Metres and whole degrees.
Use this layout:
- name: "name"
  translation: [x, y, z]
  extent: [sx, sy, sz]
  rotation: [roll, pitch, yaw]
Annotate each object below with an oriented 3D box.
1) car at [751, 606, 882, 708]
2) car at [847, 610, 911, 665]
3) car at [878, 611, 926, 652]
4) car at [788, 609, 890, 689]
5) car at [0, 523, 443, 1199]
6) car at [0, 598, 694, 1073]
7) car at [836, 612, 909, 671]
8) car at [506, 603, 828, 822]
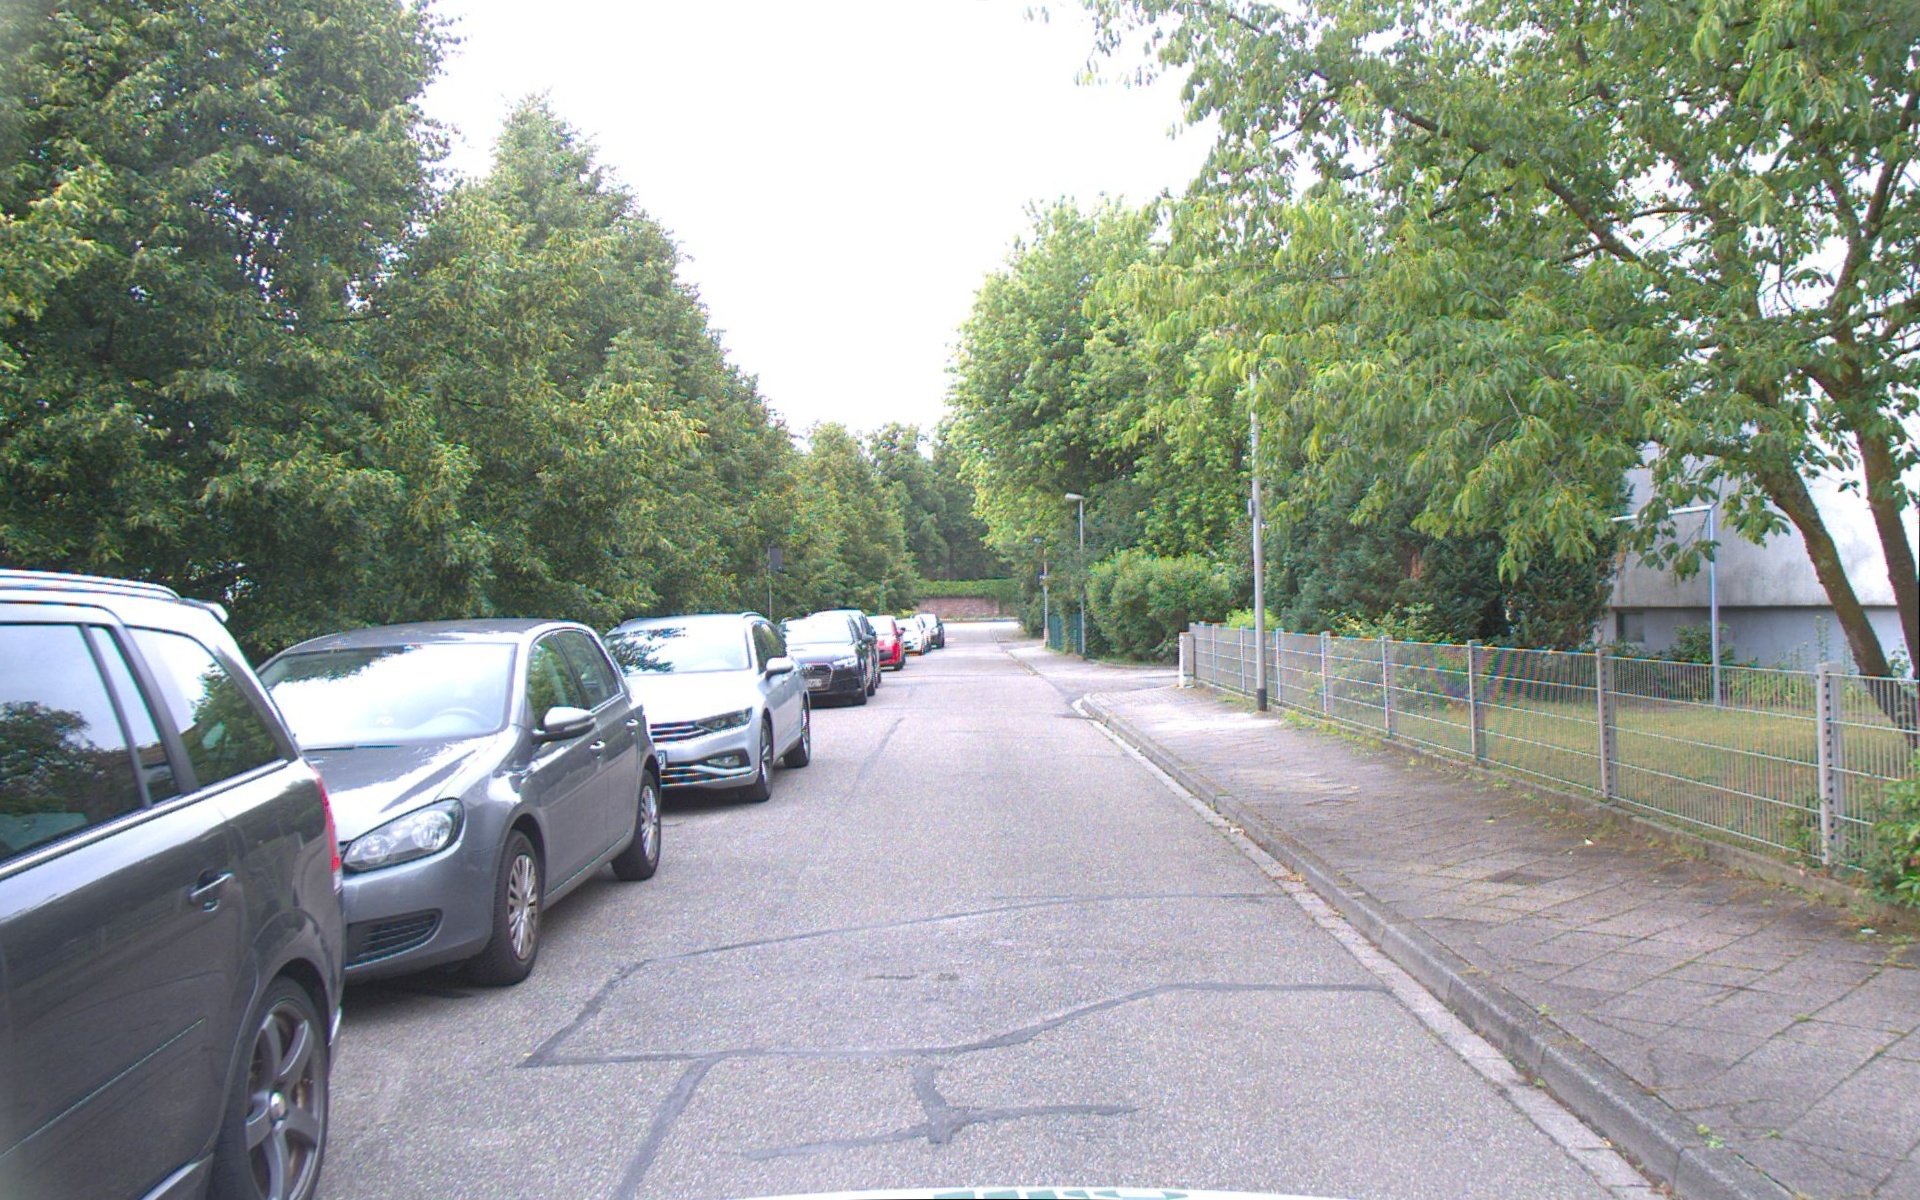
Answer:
- name: "car"
  translation: [-2.299, 0.887, 27.476]
  extent: [1.716, 1.450, 4.000]
  rotation: [-3, 0, 1]
- name: "car"
  translation: [-2.542, 1.162, 52.678]
  extent: [1.716, 1.546, 4.000]
  rotation: [-3, 0, 1]
- name: "car"
  translation: [-2.391, 1.279, 68.645]
  extent: [1.716, 1.546, 4.000]
  rotation: [-3, 0, 1]
- name: "car"
  translation: [-2.447, 0.966, 34.410]
  extent: [1.716, 1.450, 4.000]
  rotation: [-3, 0, 1]
- name: "car"
  translation: [-2.401, 0.735, 2.588]
  extent: [1.722, 1.621, 4.552]
  rotation: [-3, 0, -1]
- name: "car"
  translation: [-2.551, 0.794, 7.695]
  extent: [1.721, 1.504, 4.306]
  rotation: [-3, 0, 2]
- name: "car"
  translation: [-2.389, 1.115, 46.133]
  extent: [1.716, 1.450, 4.000]
  rotation: [-3, 0, 1]
- name: "car"
  translation: [-2.281, 0.809, 14.072]
  extent: [1.739, 1.453, 4.479]
  rotation: [-3, 0, 2]
